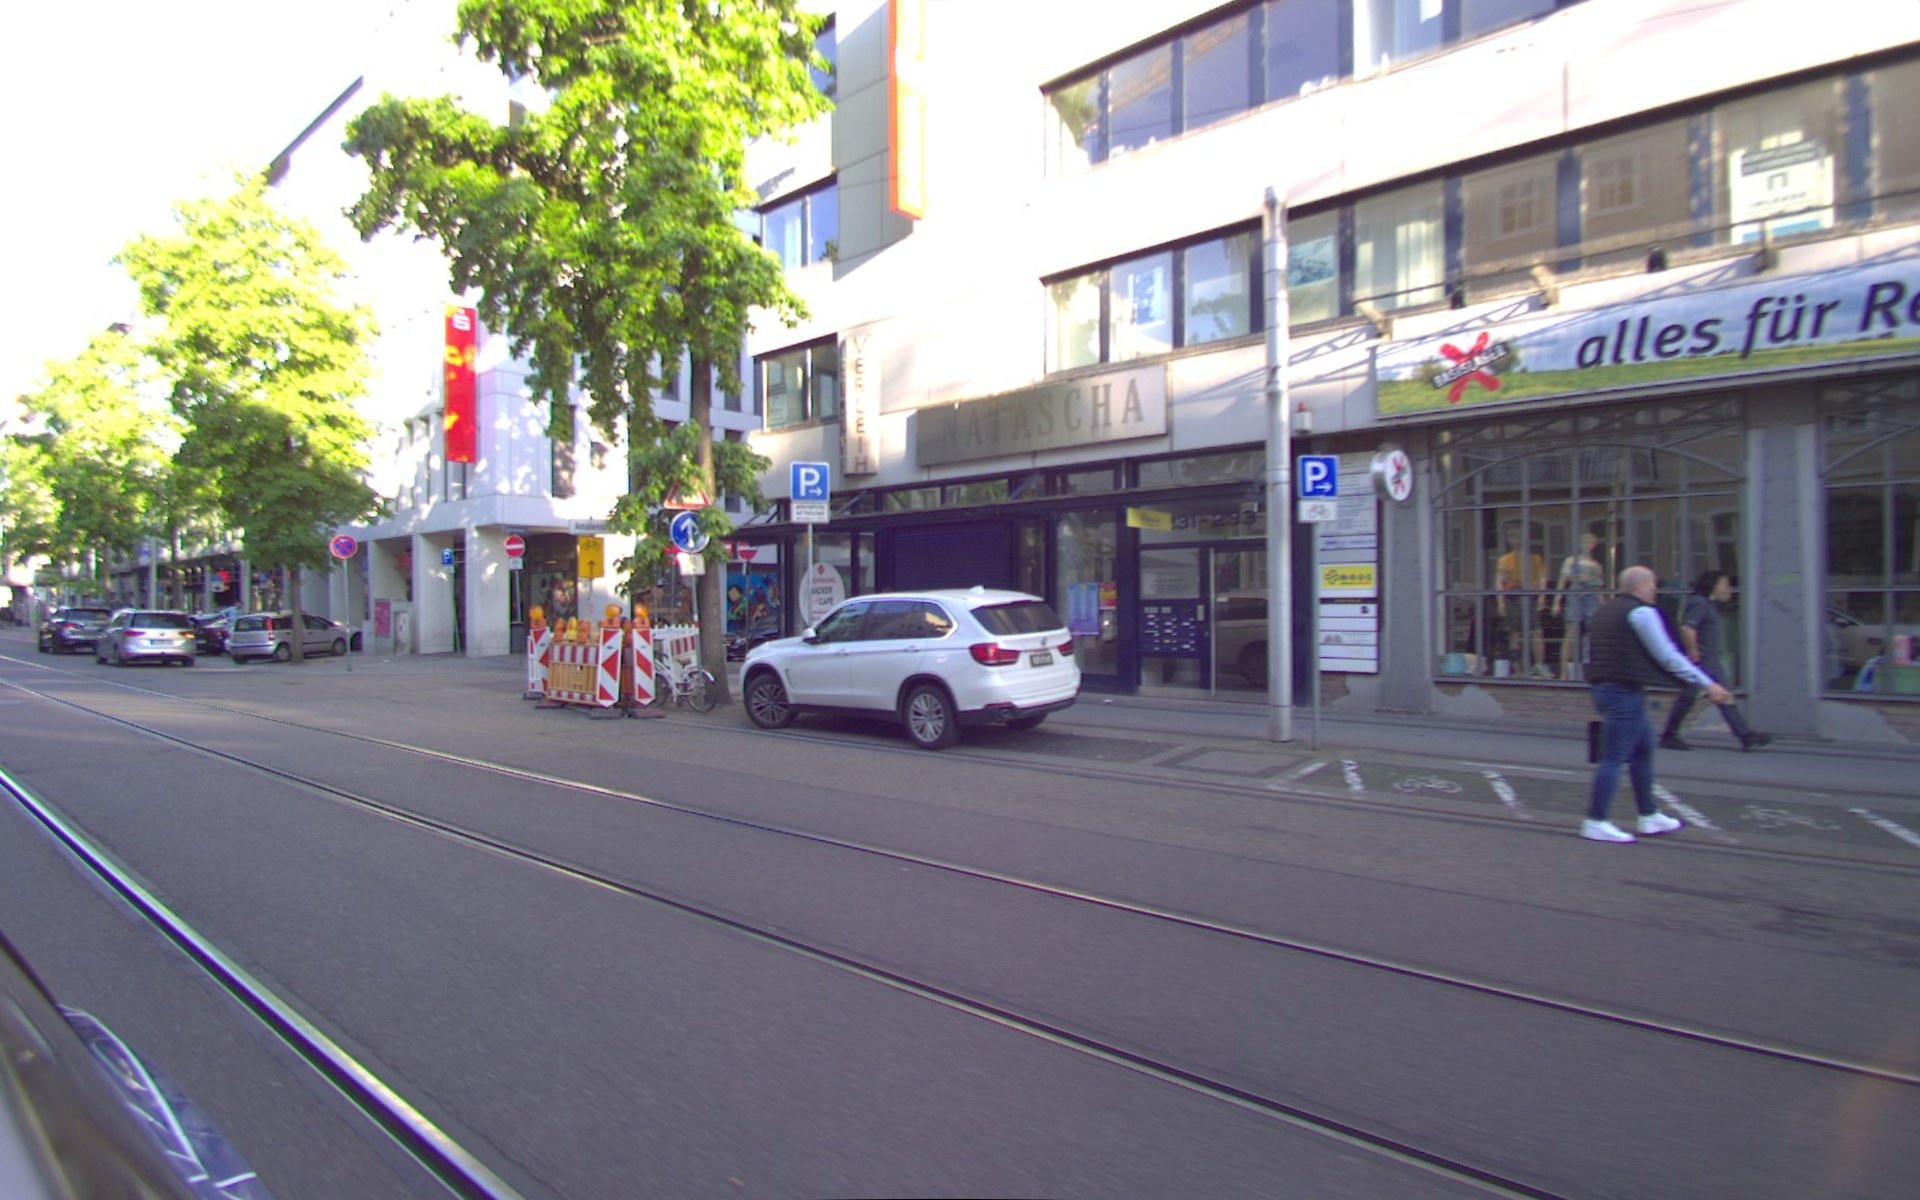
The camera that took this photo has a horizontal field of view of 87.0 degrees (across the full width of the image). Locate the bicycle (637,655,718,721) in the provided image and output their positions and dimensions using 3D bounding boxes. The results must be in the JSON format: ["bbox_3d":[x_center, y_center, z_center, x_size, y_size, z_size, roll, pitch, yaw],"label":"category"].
[{"bbox_3d":[-4.244,1.289,15.141,0.496,0.843,1.536,-3,2,-43],"label":"bicycle"}]

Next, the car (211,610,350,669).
[{"bbox_3d":[-21.174,1.182,31.692,1.768,1.572,3.393,-1,2,8],"label":"car"}]

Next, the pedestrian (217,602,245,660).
[{"bbox_3d":[-24.952,1.050,34.660,0.723,1.948,0.647,-2,-1,43],"label":"pedestrian"}]

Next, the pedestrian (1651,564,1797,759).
[{"bbox_3d":[7.261,0.543,9.619,1.037,1.708,0.824,-1,2,41],"label":"pedestrian"}]

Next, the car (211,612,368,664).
[{"bbox_3d":[-22.717,1.249,34.487,1.568,1.423,4.286,-1,2,22],"label":"car"}]

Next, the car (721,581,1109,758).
[{"bbox_3d":[-0.710,0.738,12.620,4.741,1.767,1.973,-1,1,41],"label":"car"}]

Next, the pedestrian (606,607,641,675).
[{"bbox_3d":[-8.324,1.009,25.050,0.603,1.658,0.725,-1,-1,3],"label":"pedestrian"}]

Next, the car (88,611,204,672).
[{"bbox_3d":[-23.594,1.178,29.301,4.198,1.624,1.865,-1,-3,41],"label":"car"}]

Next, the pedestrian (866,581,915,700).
[{"bbox_3d":[-1.228,0.701,17.791,0.592,2.029,0.608,-1,-1,39],"label":"pedestrian"}]

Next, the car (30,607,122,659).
[{"bbox_3d":[-33.012,1.226,37.764,4.198,1.820,2.013,-1,-2,41],"label":"car"}]

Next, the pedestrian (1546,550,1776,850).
[{"bbox_3d":[4.492,0.596,6.538,0.818,1.779,0.855,0,-1,-15],"label":"pedestrian"}]
